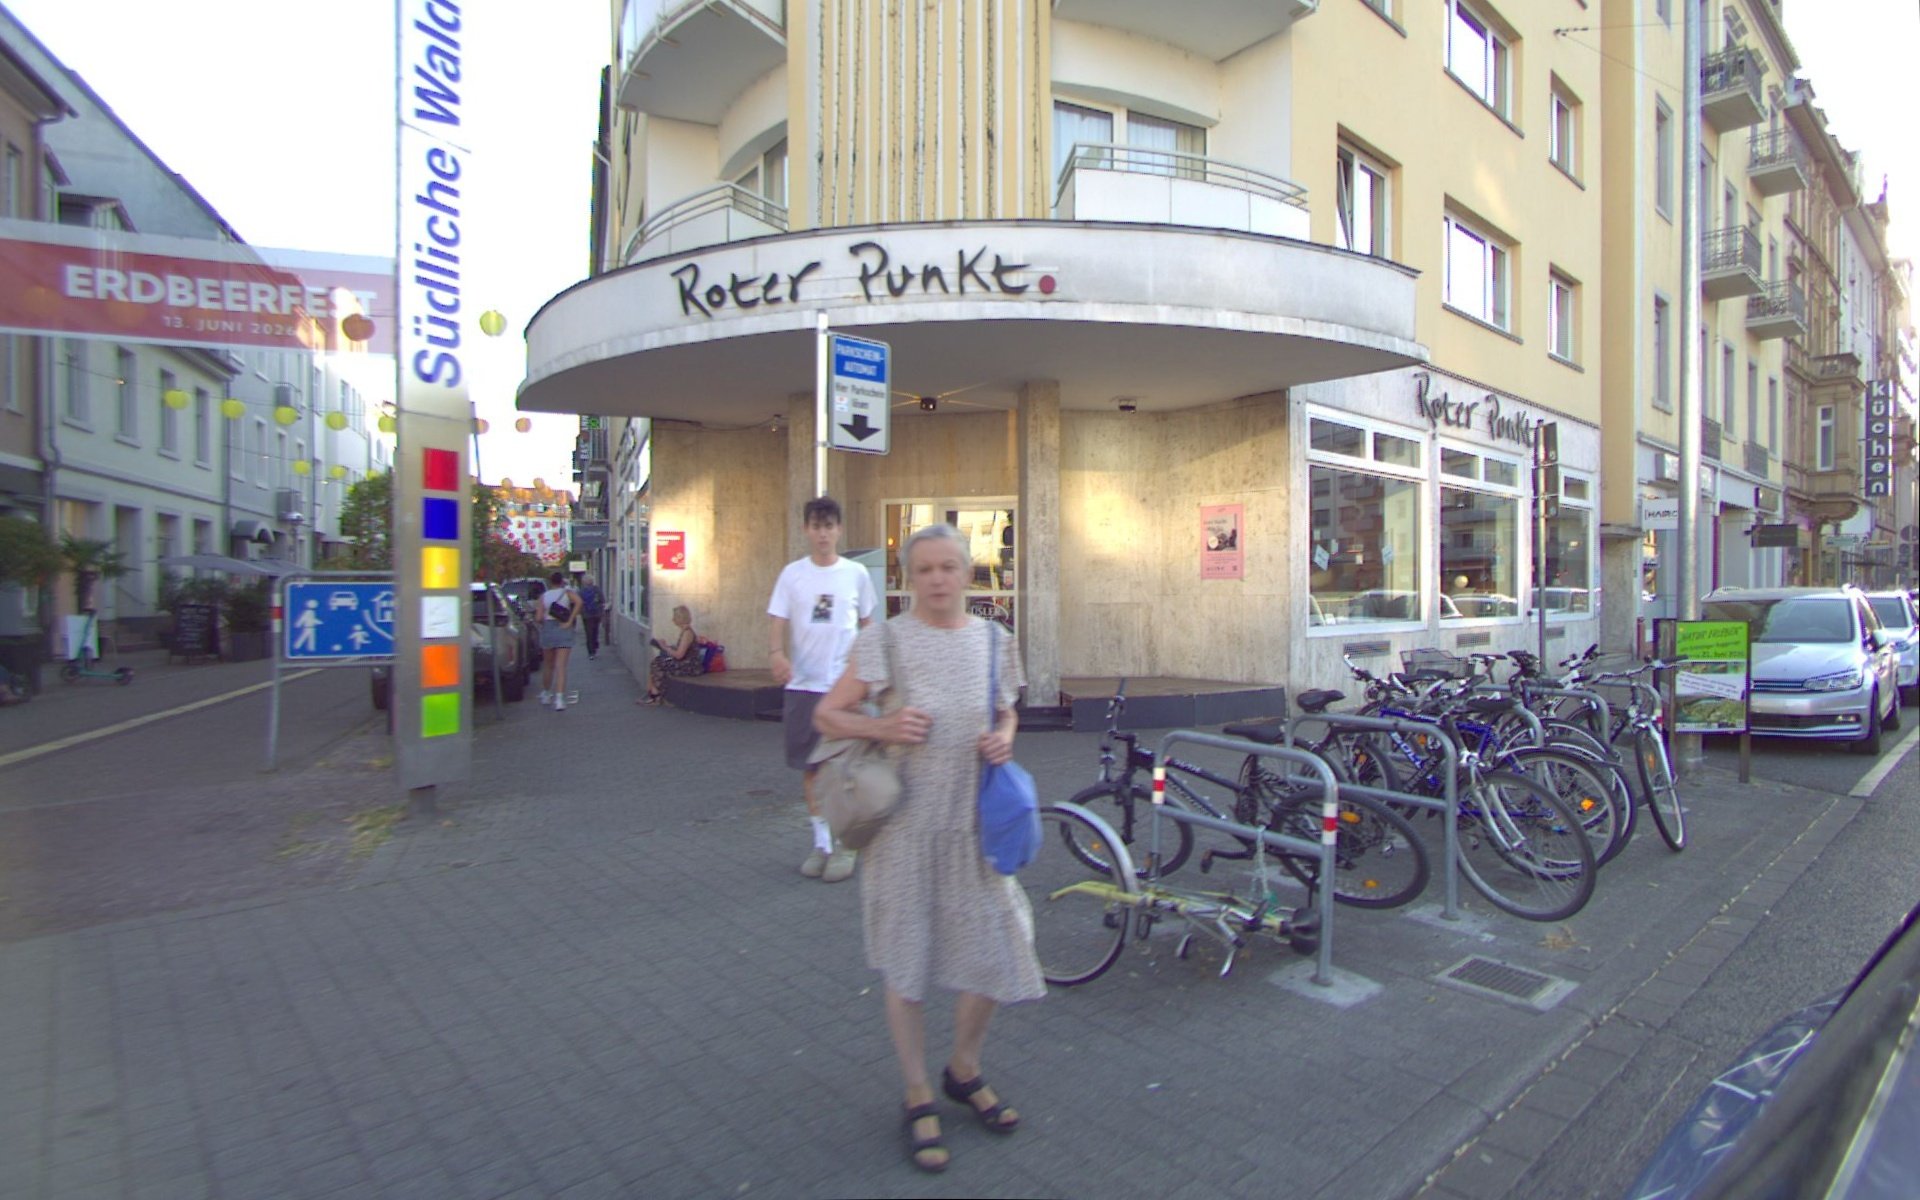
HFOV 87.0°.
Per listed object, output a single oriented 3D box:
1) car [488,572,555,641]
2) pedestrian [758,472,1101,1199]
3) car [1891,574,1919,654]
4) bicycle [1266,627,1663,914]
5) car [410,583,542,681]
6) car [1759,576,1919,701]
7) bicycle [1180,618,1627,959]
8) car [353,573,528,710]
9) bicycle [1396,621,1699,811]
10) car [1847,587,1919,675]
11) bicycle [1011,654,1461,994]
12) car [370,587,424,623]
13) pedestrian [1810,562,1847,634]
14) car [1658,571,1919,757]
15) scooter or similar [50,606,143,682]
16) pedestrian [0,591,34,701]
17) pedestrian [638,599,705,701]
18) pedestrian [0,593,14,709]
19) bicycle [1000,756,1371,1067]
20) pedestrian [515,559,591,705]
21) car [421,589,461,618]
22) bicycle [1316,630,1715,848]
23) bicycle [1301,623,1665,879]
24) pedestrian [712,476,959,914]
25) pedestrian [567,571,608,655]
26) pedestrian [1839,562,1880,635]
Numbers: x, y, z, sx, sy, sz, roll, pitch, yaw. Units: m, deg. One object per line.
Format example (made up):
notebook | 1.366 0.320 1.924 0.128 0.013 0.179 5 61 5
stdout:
car | -14.345 0.164 33.190 1.879 2.109 4.008 -1 1 -23
pedestrian | -0.062 0.545 2.677 0.765 1.674 0.792 0 1 1
car | 22.242 0.266 22.470 4.353 1.695 1.875 -1 0 -42
bicycle | 2.600 0.789 5.336 1.778 1.187 0.614 2 2 38
car | -8.992 0.501 19.140 1.905 1.605 4.451 -1 1 -21
car | 13.652 0.475 15.271 4.130 1.641 1.819 -1 0 -42
bicycle | 2.008 0.748 4.789 1.843 1.255 0.629 1 1 44
car | -7.048 0.461 14.099 1.797 1.612 3.997 -1 1 -22
bicycle | 4.212 0.769 7.350 1.840 1.137 0.587 2 2 38
car | 17.911 0.498 18.688 4.531 1.475 1.736 -1 0 -42
bicycle | 1.158 0.852 4.471 1.778 1.077 0.709 2 2 38
car | -26.182 0.207 47.186 1.598 1.605 3.661 -1 0 -20
pedestrian | 24.951 -0.062 29.071 0.836 2.039 0.673 -1 0 -41
car | 9.241 0.530 11.130 4.605 1.637 1.699 -1 0 -44
scooter or similar | -13.932 0.708 16.337 1.283 1.199 0.394 0 0 8
pedestrian | -13.119 0.597 13.390 1.208 1.430 0.890 2 -2 -41
pedestrian | -3.548 0.591 12.430 0.691 1.200 0.638 -1 0 -24
pedestrian | -12.498 0.614 12.426 1.208 1.430 0.890 2 -2 -41
bicycle | 0.853 1.046 3.762 1.003 0.690 1.035 1 1 39
pedestrian | -4.933 0.366 12.261 0.740 1.690 0.734 -1 0 -30
car | -30.072 0.199 58.743 1.598 1.605 3.661 -1 0 -20
bicycle | 3.546 0.799 6.619 2.168 1.088 0.794 2 2 42
bicycle | 2.970 0.774 5.856 1.778 1.187 0.614 2 2 38
pedestrian | -0.572 0.390 4.825 0.819 1.839 0.862 0 1 30
pedestrian | -7.772 0.260 21.102 0.740 1.690 0.803 -1 0 -22
pedestrian | 25.749 -0.044 28.977 0.836 2.039 0.762 0 0 -41
